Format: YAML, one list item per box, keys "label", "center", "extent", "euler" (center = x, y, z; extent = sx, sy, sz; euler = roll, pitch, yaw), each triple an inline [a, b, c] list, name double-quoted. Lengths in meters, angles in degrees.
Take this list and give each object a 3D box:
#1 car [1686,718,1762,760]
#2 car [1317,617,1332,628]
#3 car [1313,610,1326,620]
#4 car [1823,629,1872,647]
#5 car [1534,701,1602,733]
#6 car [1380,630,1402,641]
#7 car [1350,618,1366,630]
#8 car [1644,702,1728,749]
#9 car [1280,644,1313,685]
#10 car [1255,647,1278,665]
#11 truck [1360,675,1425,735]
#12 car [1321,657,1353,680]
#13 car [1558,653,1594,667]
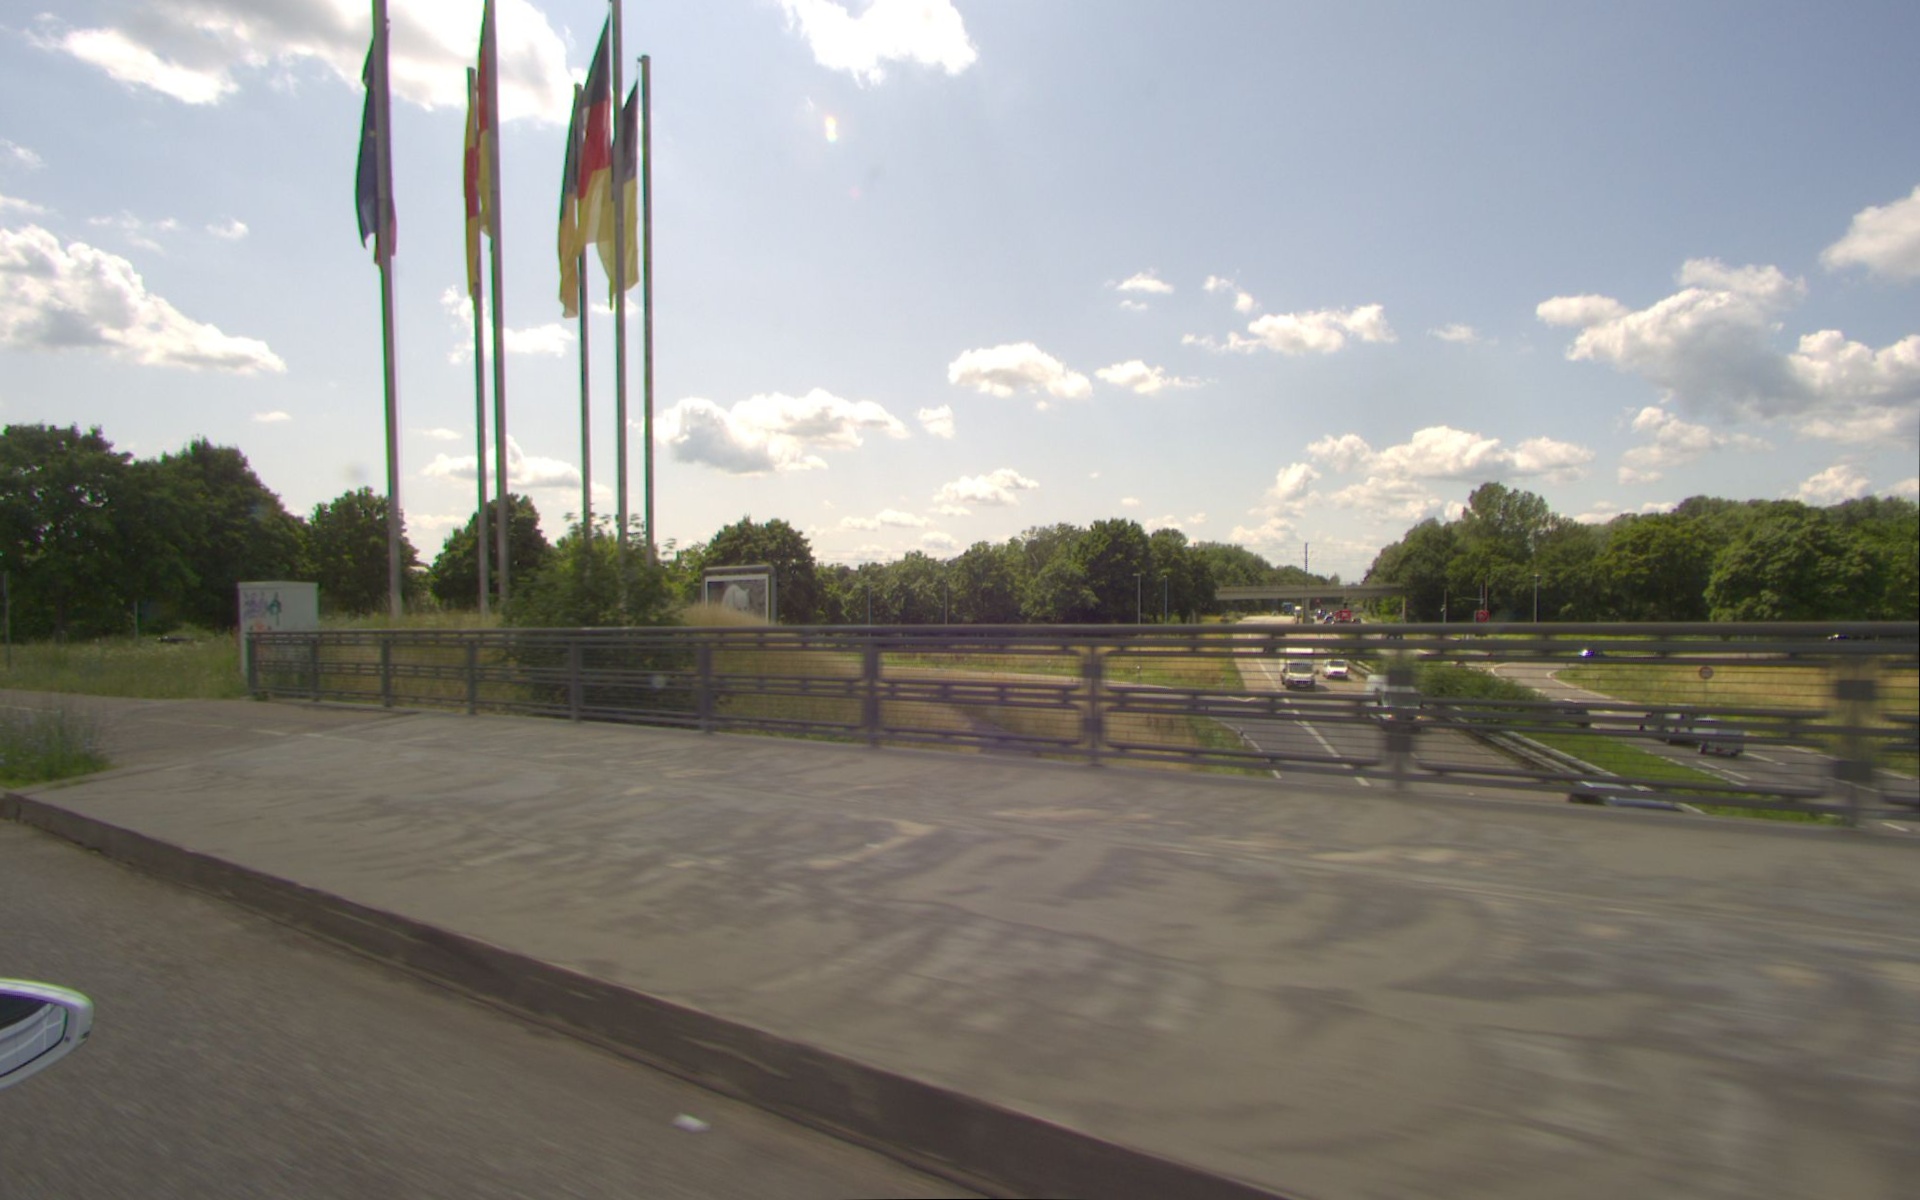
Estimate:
- label: "car"
  center: [35.338, 6.420, 46.412]
  extent: [1.631, 1.490, 3.145]
  euler: [1, -1, 13]
- label: "car"
  center: [68.741, 4.167, 188.984]
  extent: [1.962, 2.040, 3.998]
  euler: [1, -1, 11]
- label: "car"
  center: [76.532, 3.246, 213.121]
  extent: [1.962, 2.040, 3.998]
  euler: [1, -1, 11]
- label: "car"
  center: [99.009, 4.232, 111.754]
  extent: [1.981, 1.906, 3.960]
  euler: [1, -1, -44]
- label: "car"
  center: [32.805, 6.296, 54.162]
  extent: [1.962, 1.305, 3.997]
  euler: [1, -1, 13]
- label: "car"
  center: [55.786, 4.584, 129.753]
  extent: [1.962, 1.305, 3.997]
  euler: [1, -1, 13]
- label: "car"
  center: [70.311, 4.289, 176.882]
  extent: [1.962, 2.040, 3.998]
  euler: [1, -1, 11]
- label: "car"
  center: [36.096, 6.225, 49.934]
  extent: [1.962, 1.861, 3.997]
  euler: [1, -1, 13]
- label: "car"
  center: [25.639, 4.882, 76.415]
  extent: [1.962, 2.938, 3.997]
  euler: [1, -1, 13]
- label: "car"
  center: [32.215, 5.870, 105.380]
  extent: [1.962, 1.728, 3.997]
  euler: [1, -1, 13]
- label: "truck"
  center: [24.379, 5.852, 56.704]
  extent: [1.962, 2.737, 6.616]
  euler: [1, -1, 11]
- label: "car"
  center: [31.821, 5.760, 84.581]
  extent: [1.962, 1.766, 3.997]
  euler: [1, -1, 13]
- label: "car"
  center: [63.171, 6.151, 102.757]
  extent: [1.962, 1.305, 3.997]
  euler: [1, -1, 13]
